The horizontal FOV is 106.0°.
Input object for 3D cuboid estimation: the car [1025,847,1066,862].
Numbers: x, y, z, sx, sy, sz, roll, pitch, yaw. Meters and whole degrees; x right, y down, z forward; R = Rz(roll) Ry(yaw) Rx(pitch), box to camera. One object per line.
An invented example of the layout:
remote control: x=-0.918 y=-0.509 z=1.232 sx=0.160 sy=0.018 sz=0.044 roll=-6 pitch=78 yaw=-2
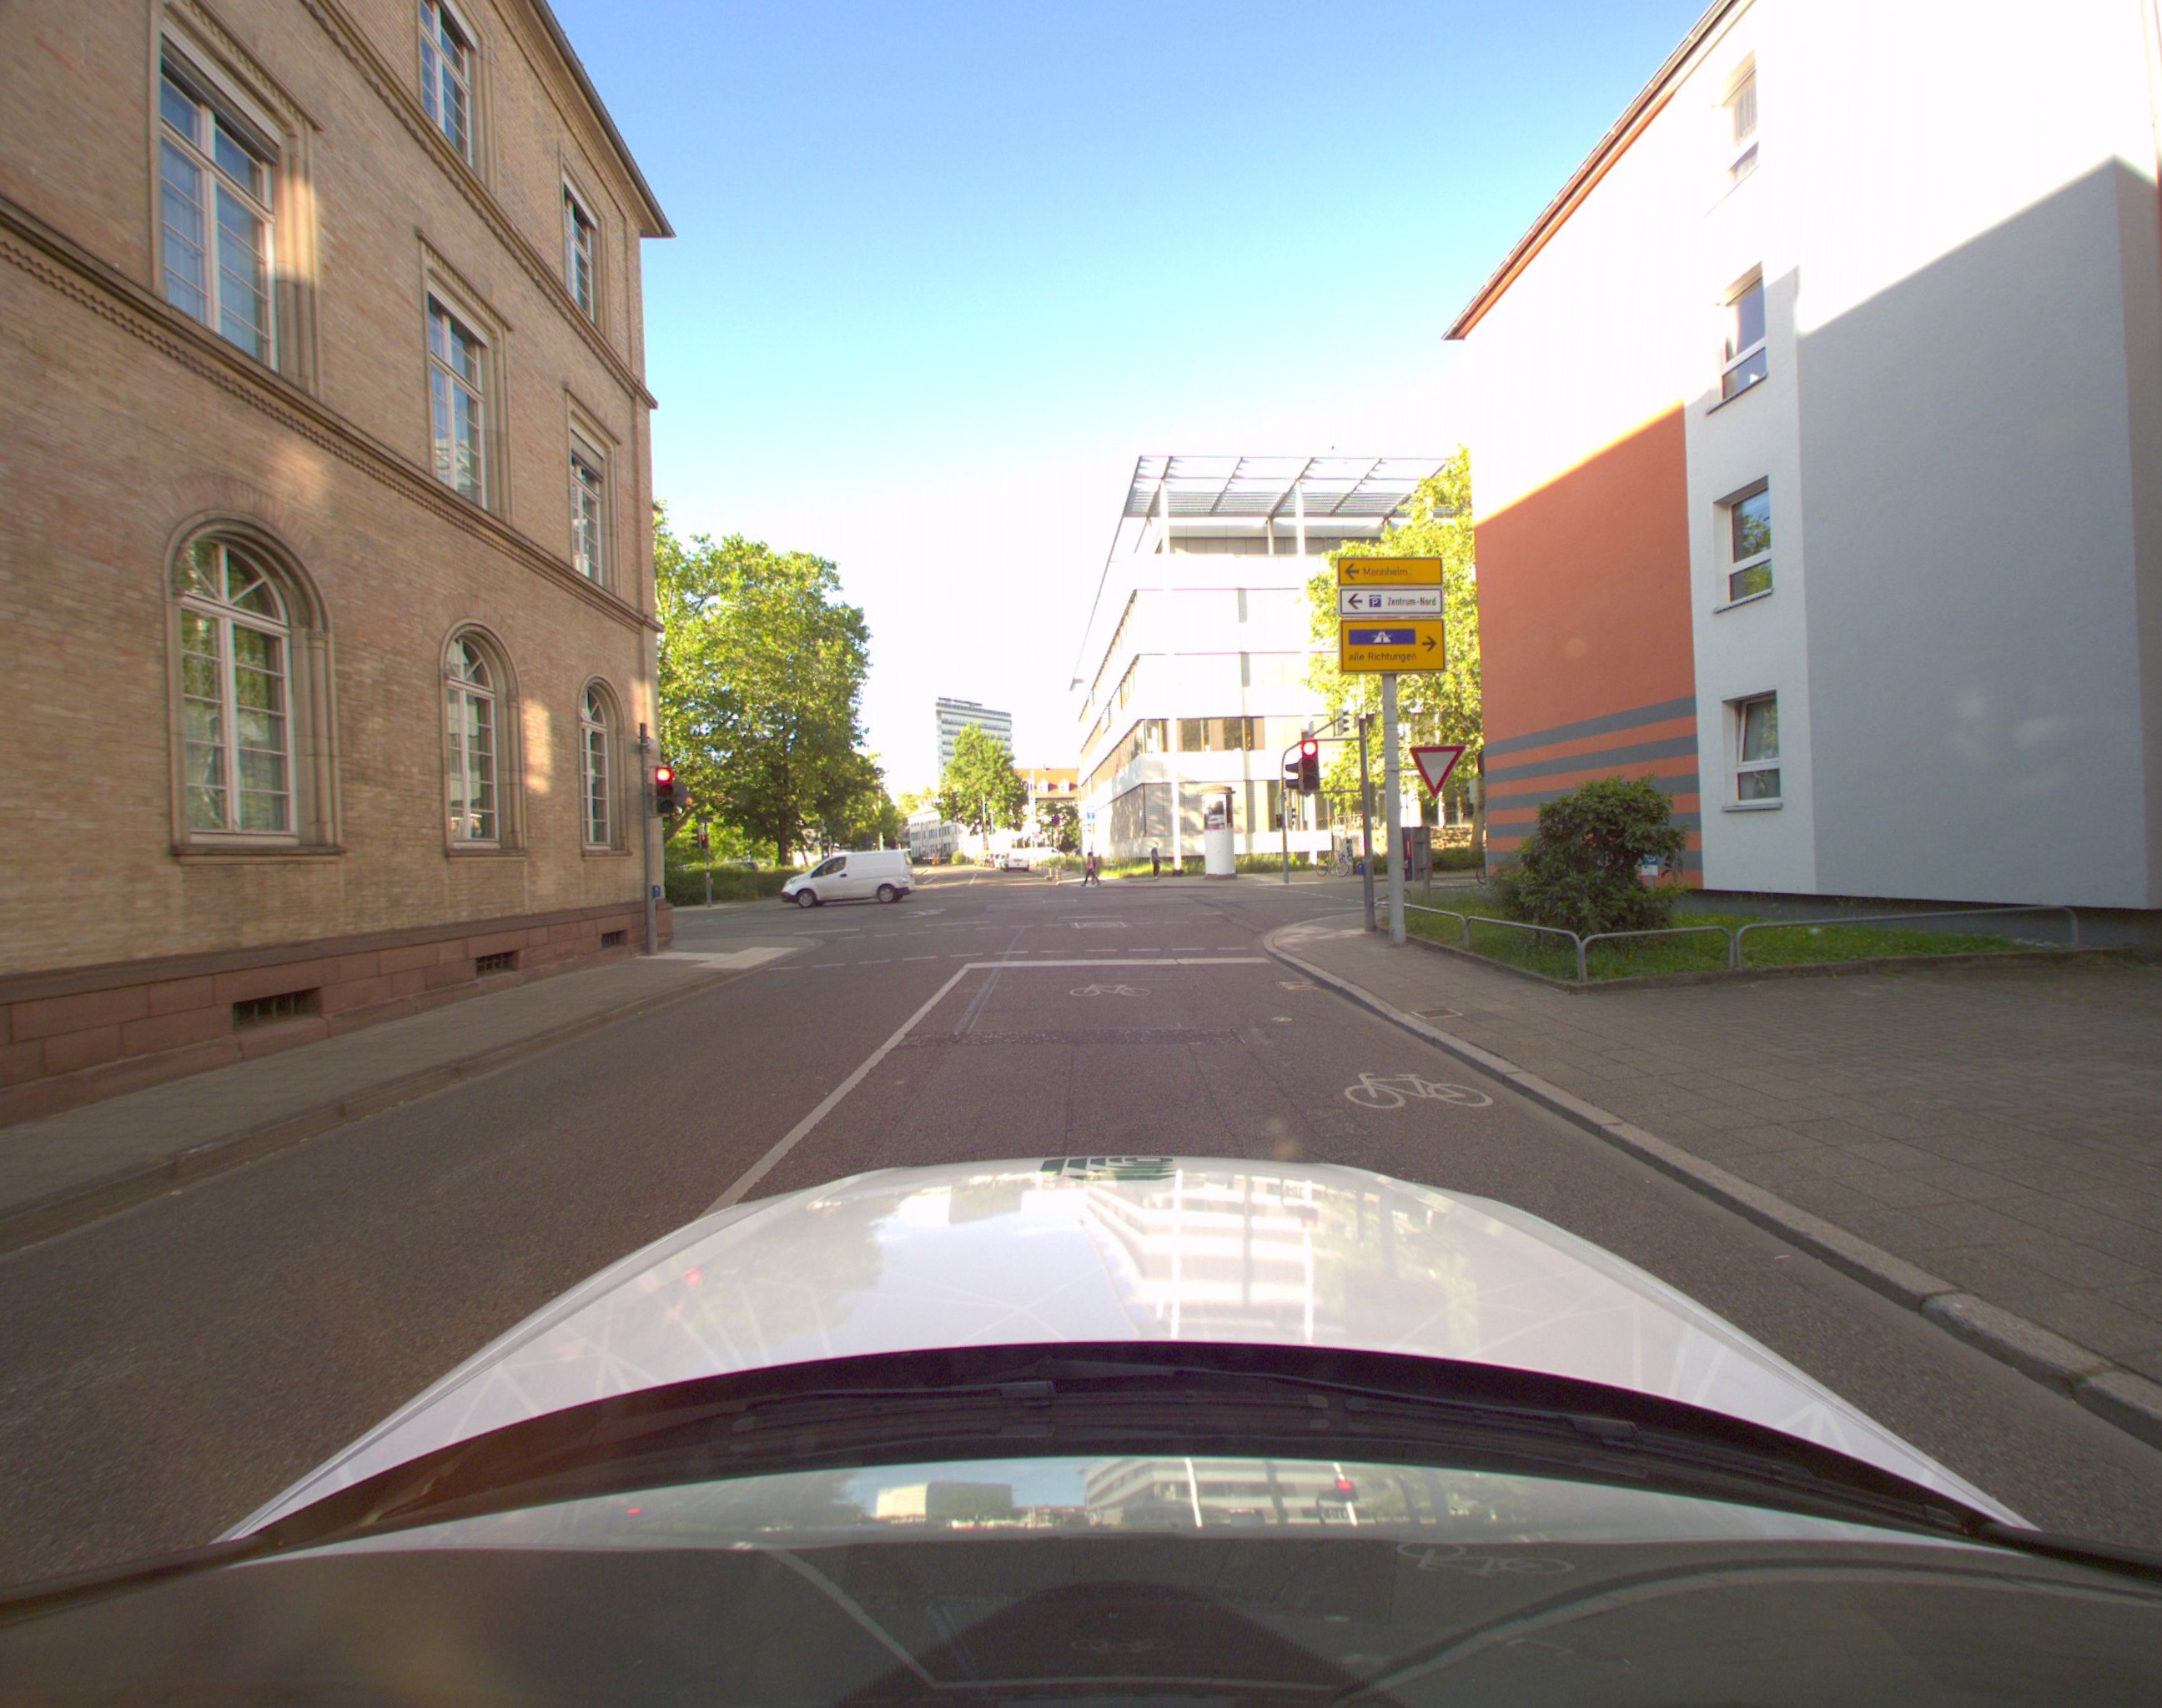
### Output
car: x=-4.525 y=0.086 z=103.170 sx=4.889 sy=1.872 sz=1.990 roll=-1 pitch=-1 yaw=-15

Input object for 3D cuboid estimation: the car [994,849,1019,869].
car: x=-7.091 y=0.478 z=76.813 sx=1.947 sy=1.795 sz=4.223 roll=-2 pitch=0 yaw=-11

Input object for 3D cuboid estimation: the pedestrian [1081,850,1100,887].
pedestrian: x=0.415 y=0.652 z=36.795 sx=0.707 sy=1.599 sz=0.619 roll=-2 pitch=0 yaw=11

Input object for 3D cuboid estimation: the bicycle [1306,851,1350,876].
bicycle: x=10.897 y=0.441 z=35.999 sx=0.467 sy=1.049 sz=1.893 roll=-2 pitch=0 yaw=-40

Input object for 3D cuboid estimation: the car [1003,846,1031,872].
car: x=-5.138 y=0.382 z=64.936 sx=2.065 sy=1.963 sz=4.228 roll=-2 pitch=0 yaw=-7

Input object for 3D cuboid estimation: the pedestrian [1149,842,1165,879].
pedestrian: x=3.652 y=0.306 z=39.101 sx=0.649 sy=1.736 sz=0.814 roll=-2 pitch=0 yaw=8

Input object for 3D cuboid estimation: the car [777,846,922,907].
car: x=-8.009 y=0.754 z=28.527 sx=4.533 sy=1.799 sz=1.634 roll=-3 pitch=0 yaw=-5

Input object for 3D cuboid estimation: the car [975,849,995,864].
car: x=-11.328 y=0.280 z=96.125 sx=2.100 sy=1.658 sz=4.461 roll=-2 pitch=0 yaw=-9

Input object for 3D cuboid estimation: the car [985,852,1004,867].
car: x=-9.210 y=0.552 z=86.243 sx=1.704 sy=1.464 sz=4.225 roll=-2 pitch=0 yaw=-9

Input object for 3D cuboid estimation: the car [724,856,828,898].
car: x=-14.406 y=1.049 z=38.638 sx=4.219 sy=1.777 sz=1.901 roll=-2 pitch=0 yaw=-7
